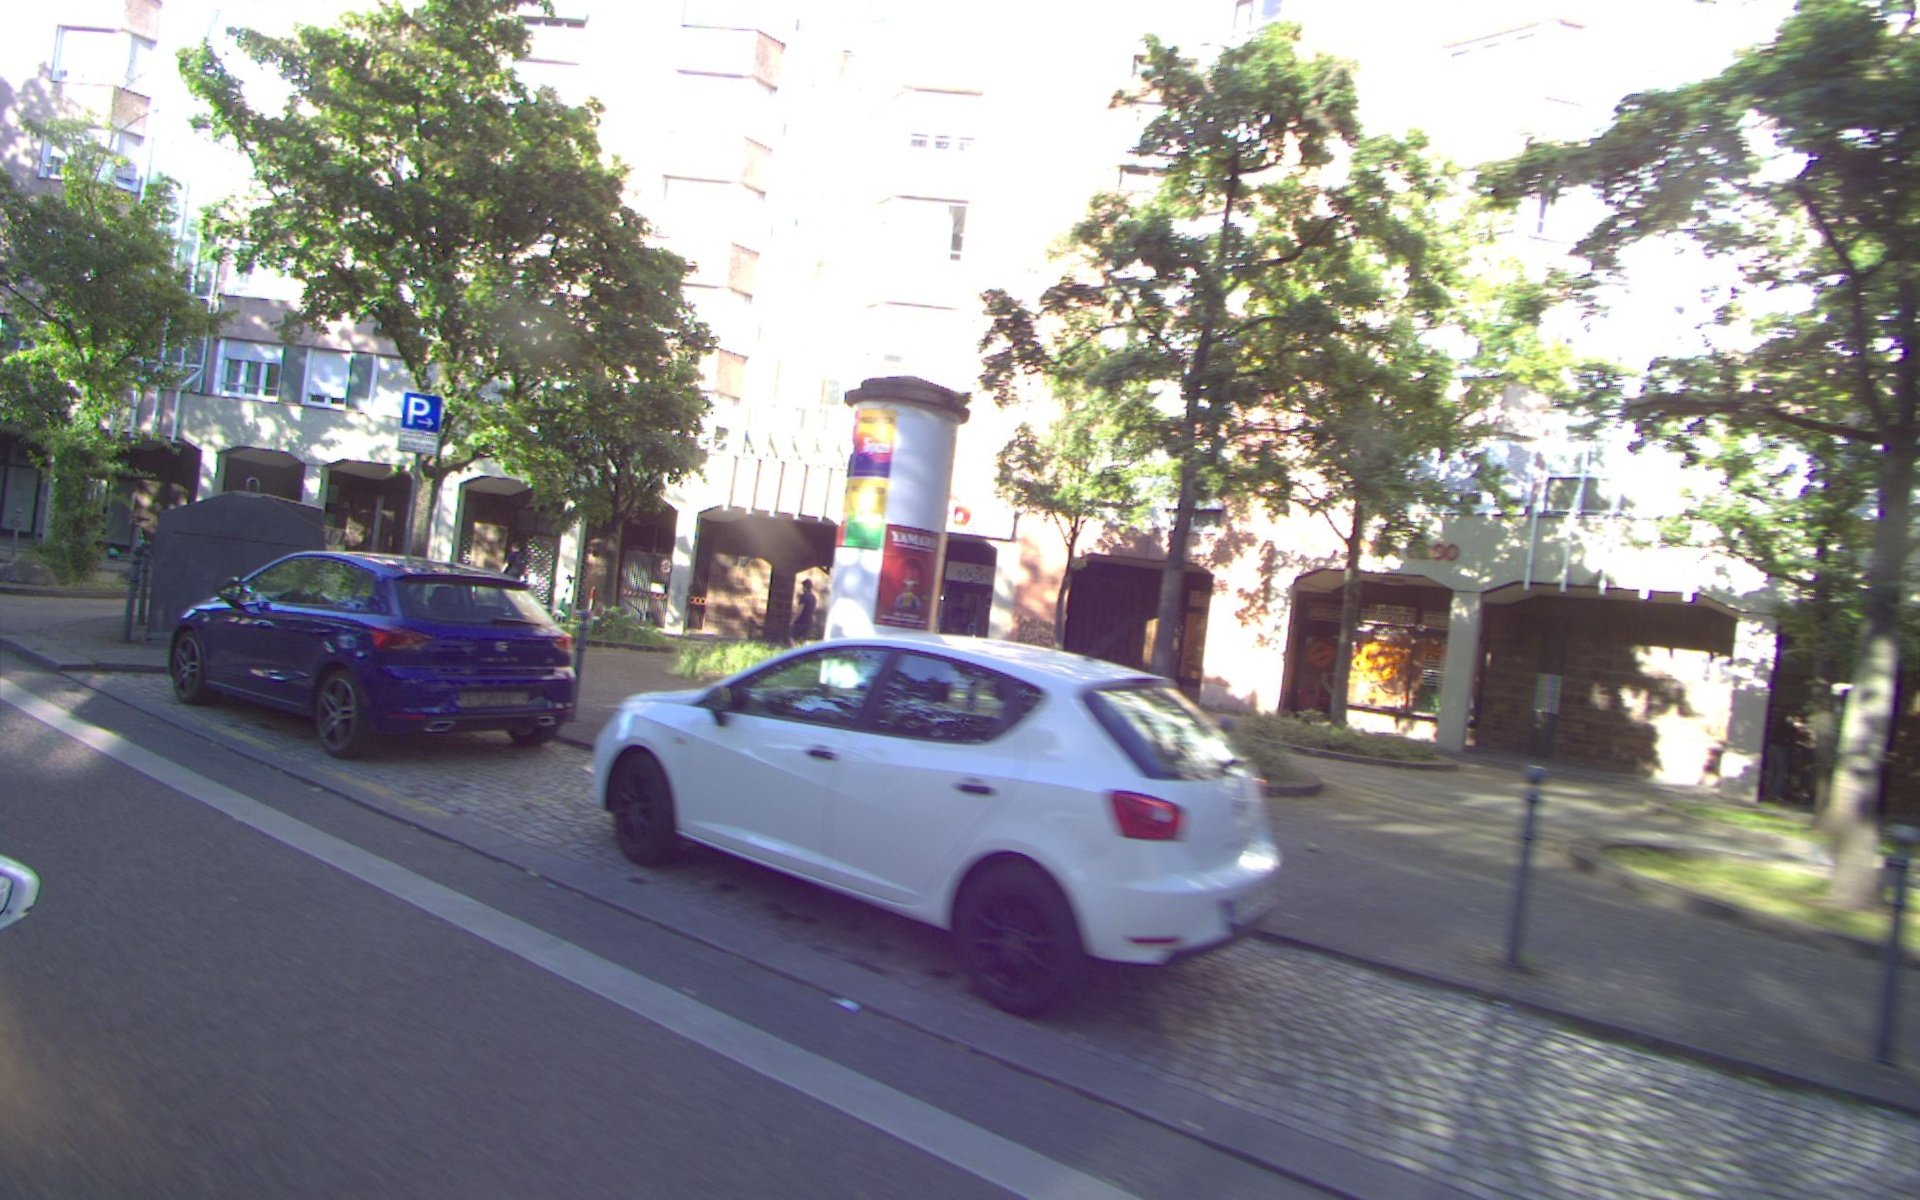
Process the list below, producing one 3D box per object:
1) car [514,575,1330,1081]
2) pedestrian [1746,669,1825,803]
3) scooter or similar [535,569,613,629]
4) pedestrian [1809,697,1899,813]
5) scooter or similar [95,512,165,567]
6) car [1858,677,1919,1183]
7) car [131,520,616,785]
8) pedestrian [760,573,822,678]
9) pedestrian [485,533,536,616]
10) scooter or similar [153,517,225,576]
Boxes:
[{"bbox_3d":[-0.384,0.861,5.484,4.107,1.483,1.703,7,0,33],"label":"car"},{"bbox_3d":[15.022,2.464,18.310,0.720,2.275,0.795,7,0,-41],"label":"pedestrian"},{"bbox_3d":[-8.679,-0.007,22.651,0.550,1.159,1.456,7,-1,35],"label":"scooter or similar"},{"bbox_3d":[15.909,2.744,17.911,0.719,1.894,0.885,7,0,-33],"label":"pedestrian"},{"bbox_3d":[-21.462,-1.563,26.014,1.423,1.231,0.486,7,0,10],"label":"scooter or similar"},{"bbox_3d":[5.365,1.230,1.768,5.107,1.968,2.041,7,1,28],"label":"car"},{"bbox_3d":[-5.023,0.318,8.443,4.178,1.502,1.703,7,0,32],"label":"car"},{"bbox_3d":[-3.393,0.518,20.185,0.763,2.005,0.640,7,0,31],"label":"pedestrian"},{"bbox_3d":[-11.577,-0.657,25.920,0.812,2.005,0.839,7,0,-38],"label":"pedestrian"},{"bbox_3d":[-19.395,-1.349,25.316,1.423,1.289,0.486,7,0,10],"label":"scooter or similar"}]
